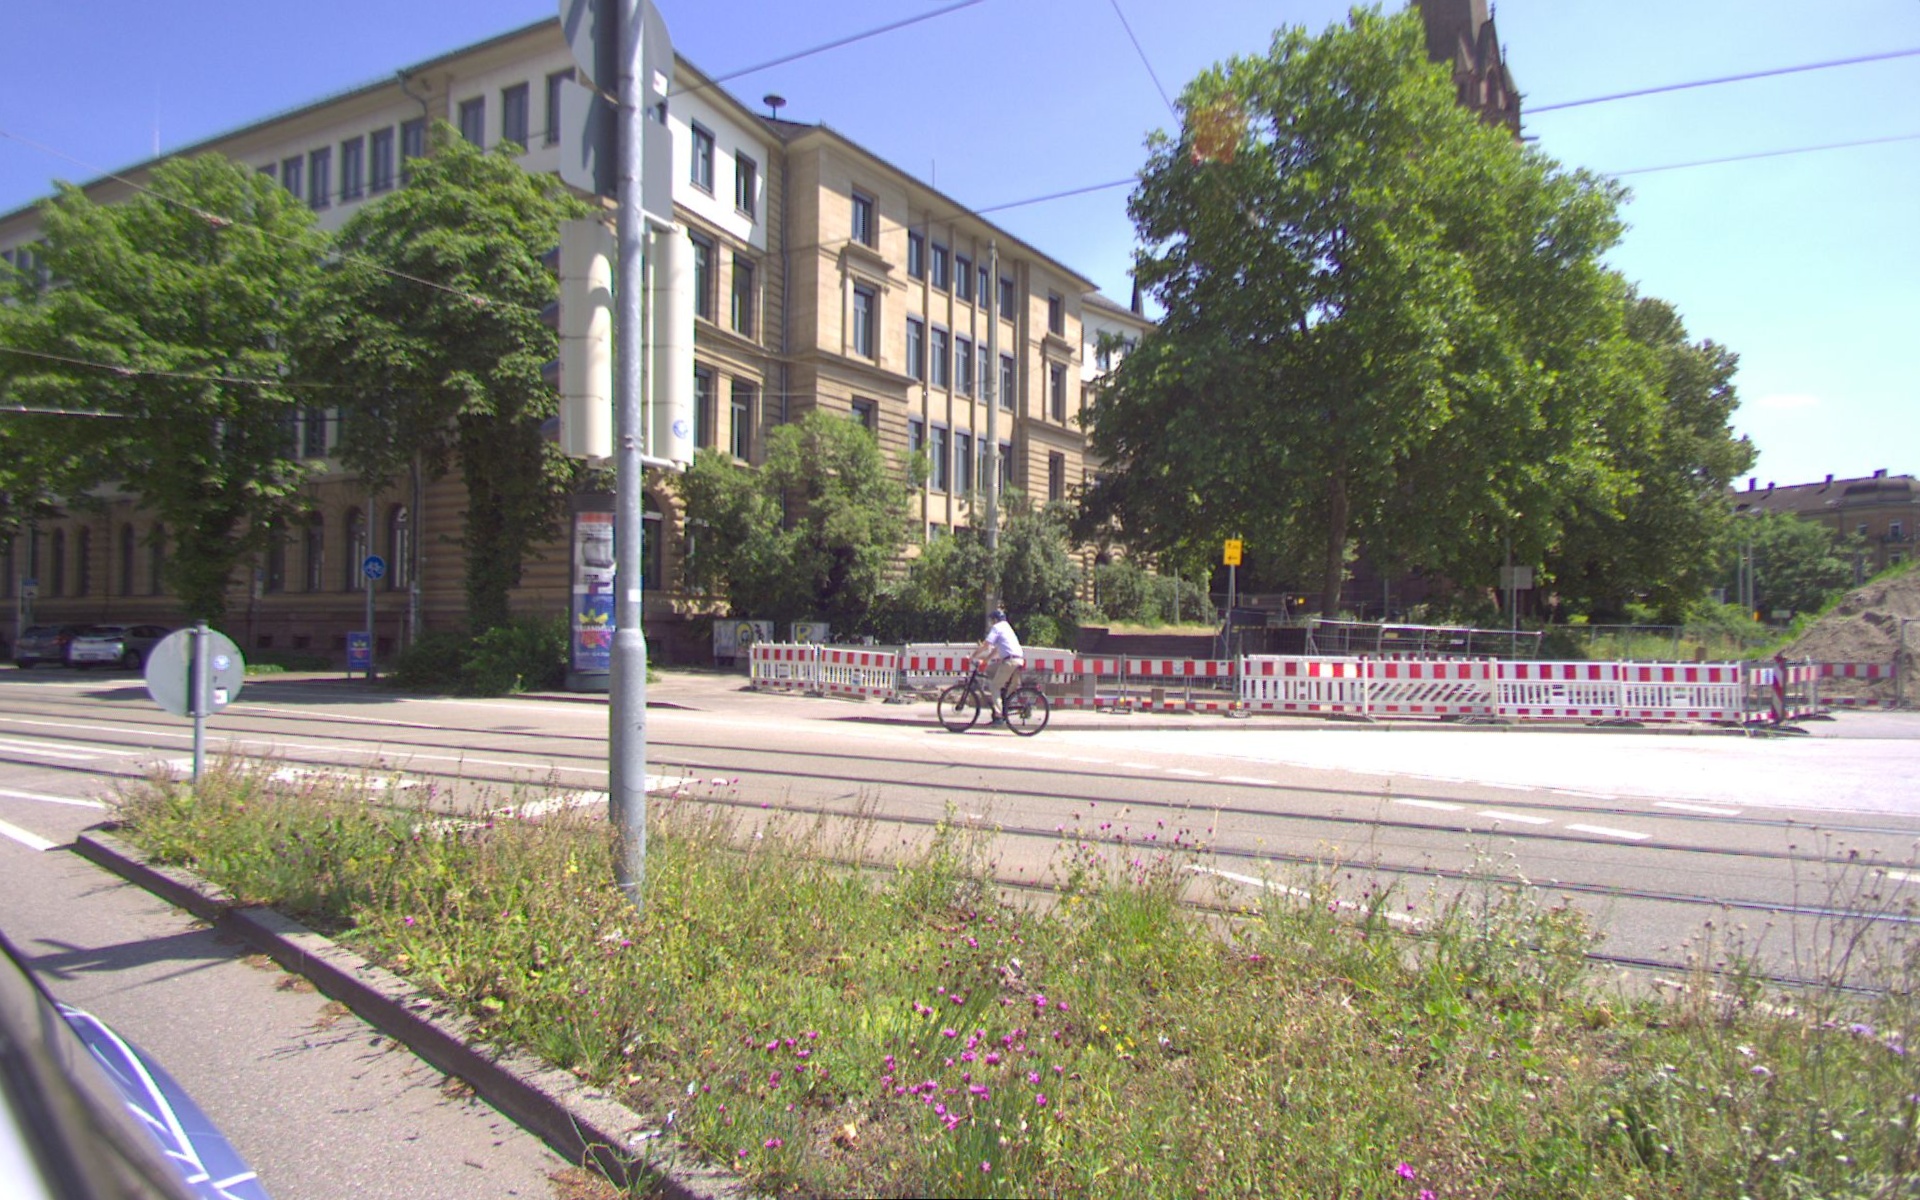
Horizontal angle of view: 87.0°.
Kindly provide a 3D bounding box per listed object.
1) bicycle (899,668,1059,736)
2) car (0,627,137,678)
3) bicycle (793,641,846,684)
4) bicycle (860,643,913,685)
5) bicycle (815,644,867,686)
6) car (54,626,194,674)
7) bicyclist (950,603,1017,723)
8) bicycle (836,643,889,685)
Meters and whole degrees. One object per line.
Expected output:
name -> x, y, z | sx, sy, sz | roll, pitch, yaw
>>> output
bicycle -> 0.267, 1.488, 15.013 | 2.353, 0.921, 0.501 | -1, -2, 21
car -> -29.459, 1.689, 33.445 | 1.645, 1.531, 3.679 | 0, 0, -3
bicycle -> -4.001, 1.772, 28.862 | 0.462, 1.156, 1.668 | 0, -1, 35
bicycle -> -1.983, 1.729, 27.599 | 0.503, 1.111, 1.719 | -1, -2, 32
bicycle -> -3.326, 1.804, 28.438 | 0.503, 1.111, 1.719 | -1, -2, 32
car -> -26.716, 1.562, 32.487 | 1.677, 1.416, 3.551 | 0, -1, -3
bicyclist -> 0.354, 0.914, 14.997 | 0.765, 1.723, 0.818 | -1, -2, 21
bicycle -> -2.692, 1.754, 28.036 | 0.503, 1.111, 1.719 | -1, -2, 32
